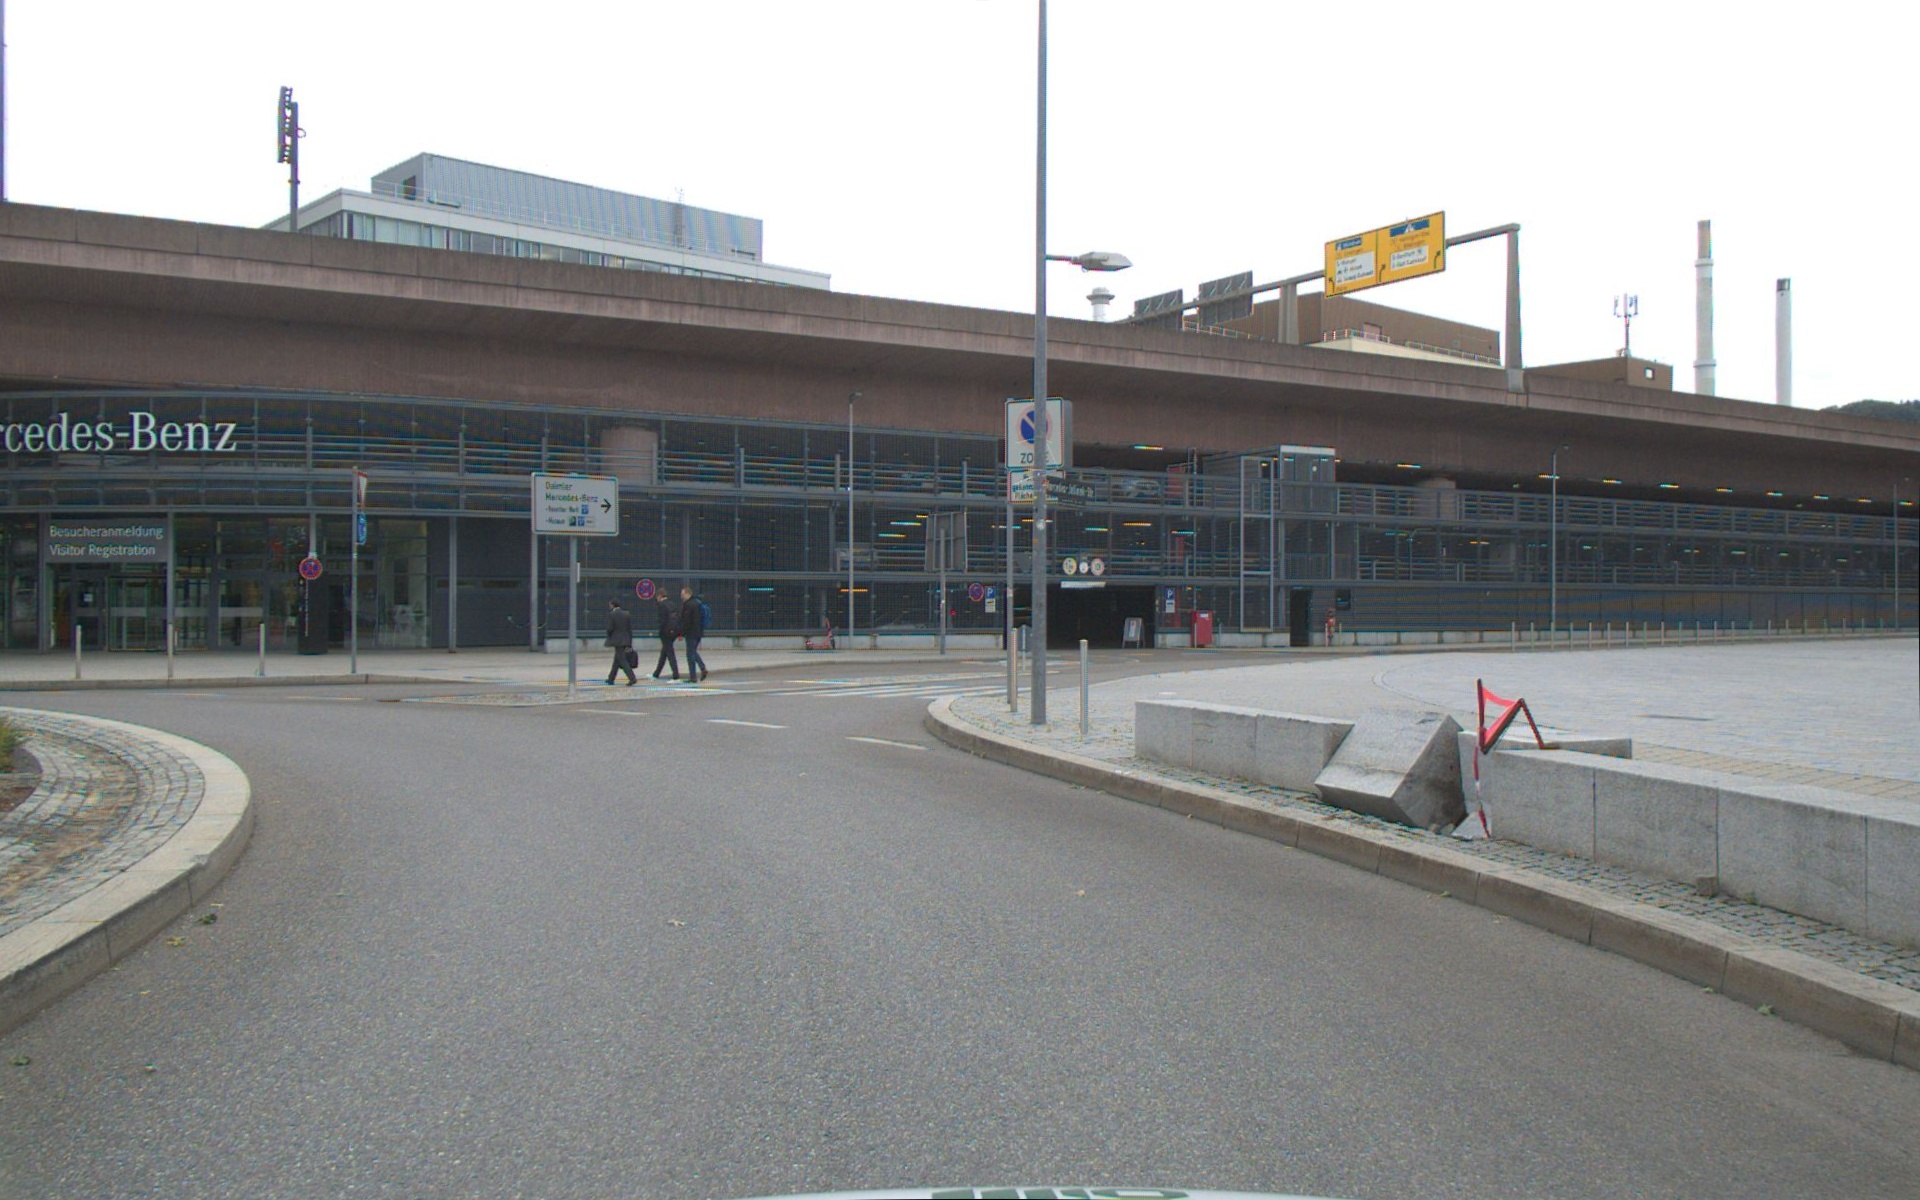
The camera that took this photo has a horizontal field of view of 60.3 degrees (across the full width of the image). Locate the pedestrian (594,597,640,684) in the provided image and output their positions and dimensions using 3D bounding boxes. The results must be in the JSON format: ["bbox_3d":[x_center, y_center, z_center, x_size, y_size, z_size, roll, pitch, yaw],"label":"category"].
[{"bbox_3d":[-6.341,0.748,30.597,0.816,1.598,0.688,0,-1,-13],"label":"pedestrian"}]

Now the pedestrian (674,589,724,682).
[{"bbox_3d":[-5.059,0.680,32.028,0.820,1.771,0.685,1,-1,-24],"label":"pedestrian"}]

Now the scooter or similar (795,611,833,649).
[{"bbox_3d":[-4.752,0.983,53.790,1.218,1.215,0.352,1,-1,-32],"label":"scooter or similar"}]

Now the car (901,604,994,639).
[{"bbox_3d":[-0.561,0.977,77.546,3.946,1.601,1.979,0,0,-31],"label":"car"}]

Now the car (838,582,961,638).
[{"bbox_3d":[-2.160,0.357,58.924,3.946,1.937,1.979,0,0,-31],"label":"car"}]

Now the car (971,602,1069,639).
[{"bbox_3d":[2.687,0.897,74.274,3.996,1.601,1.979,0,0,-31],"label":"car"}]

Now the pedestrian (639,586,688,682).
[{"bbox_3d":[-5.581,0.642,31.105,0.818,1.771,0.686,1,-1,-20],"label":"pedestrian"}]
